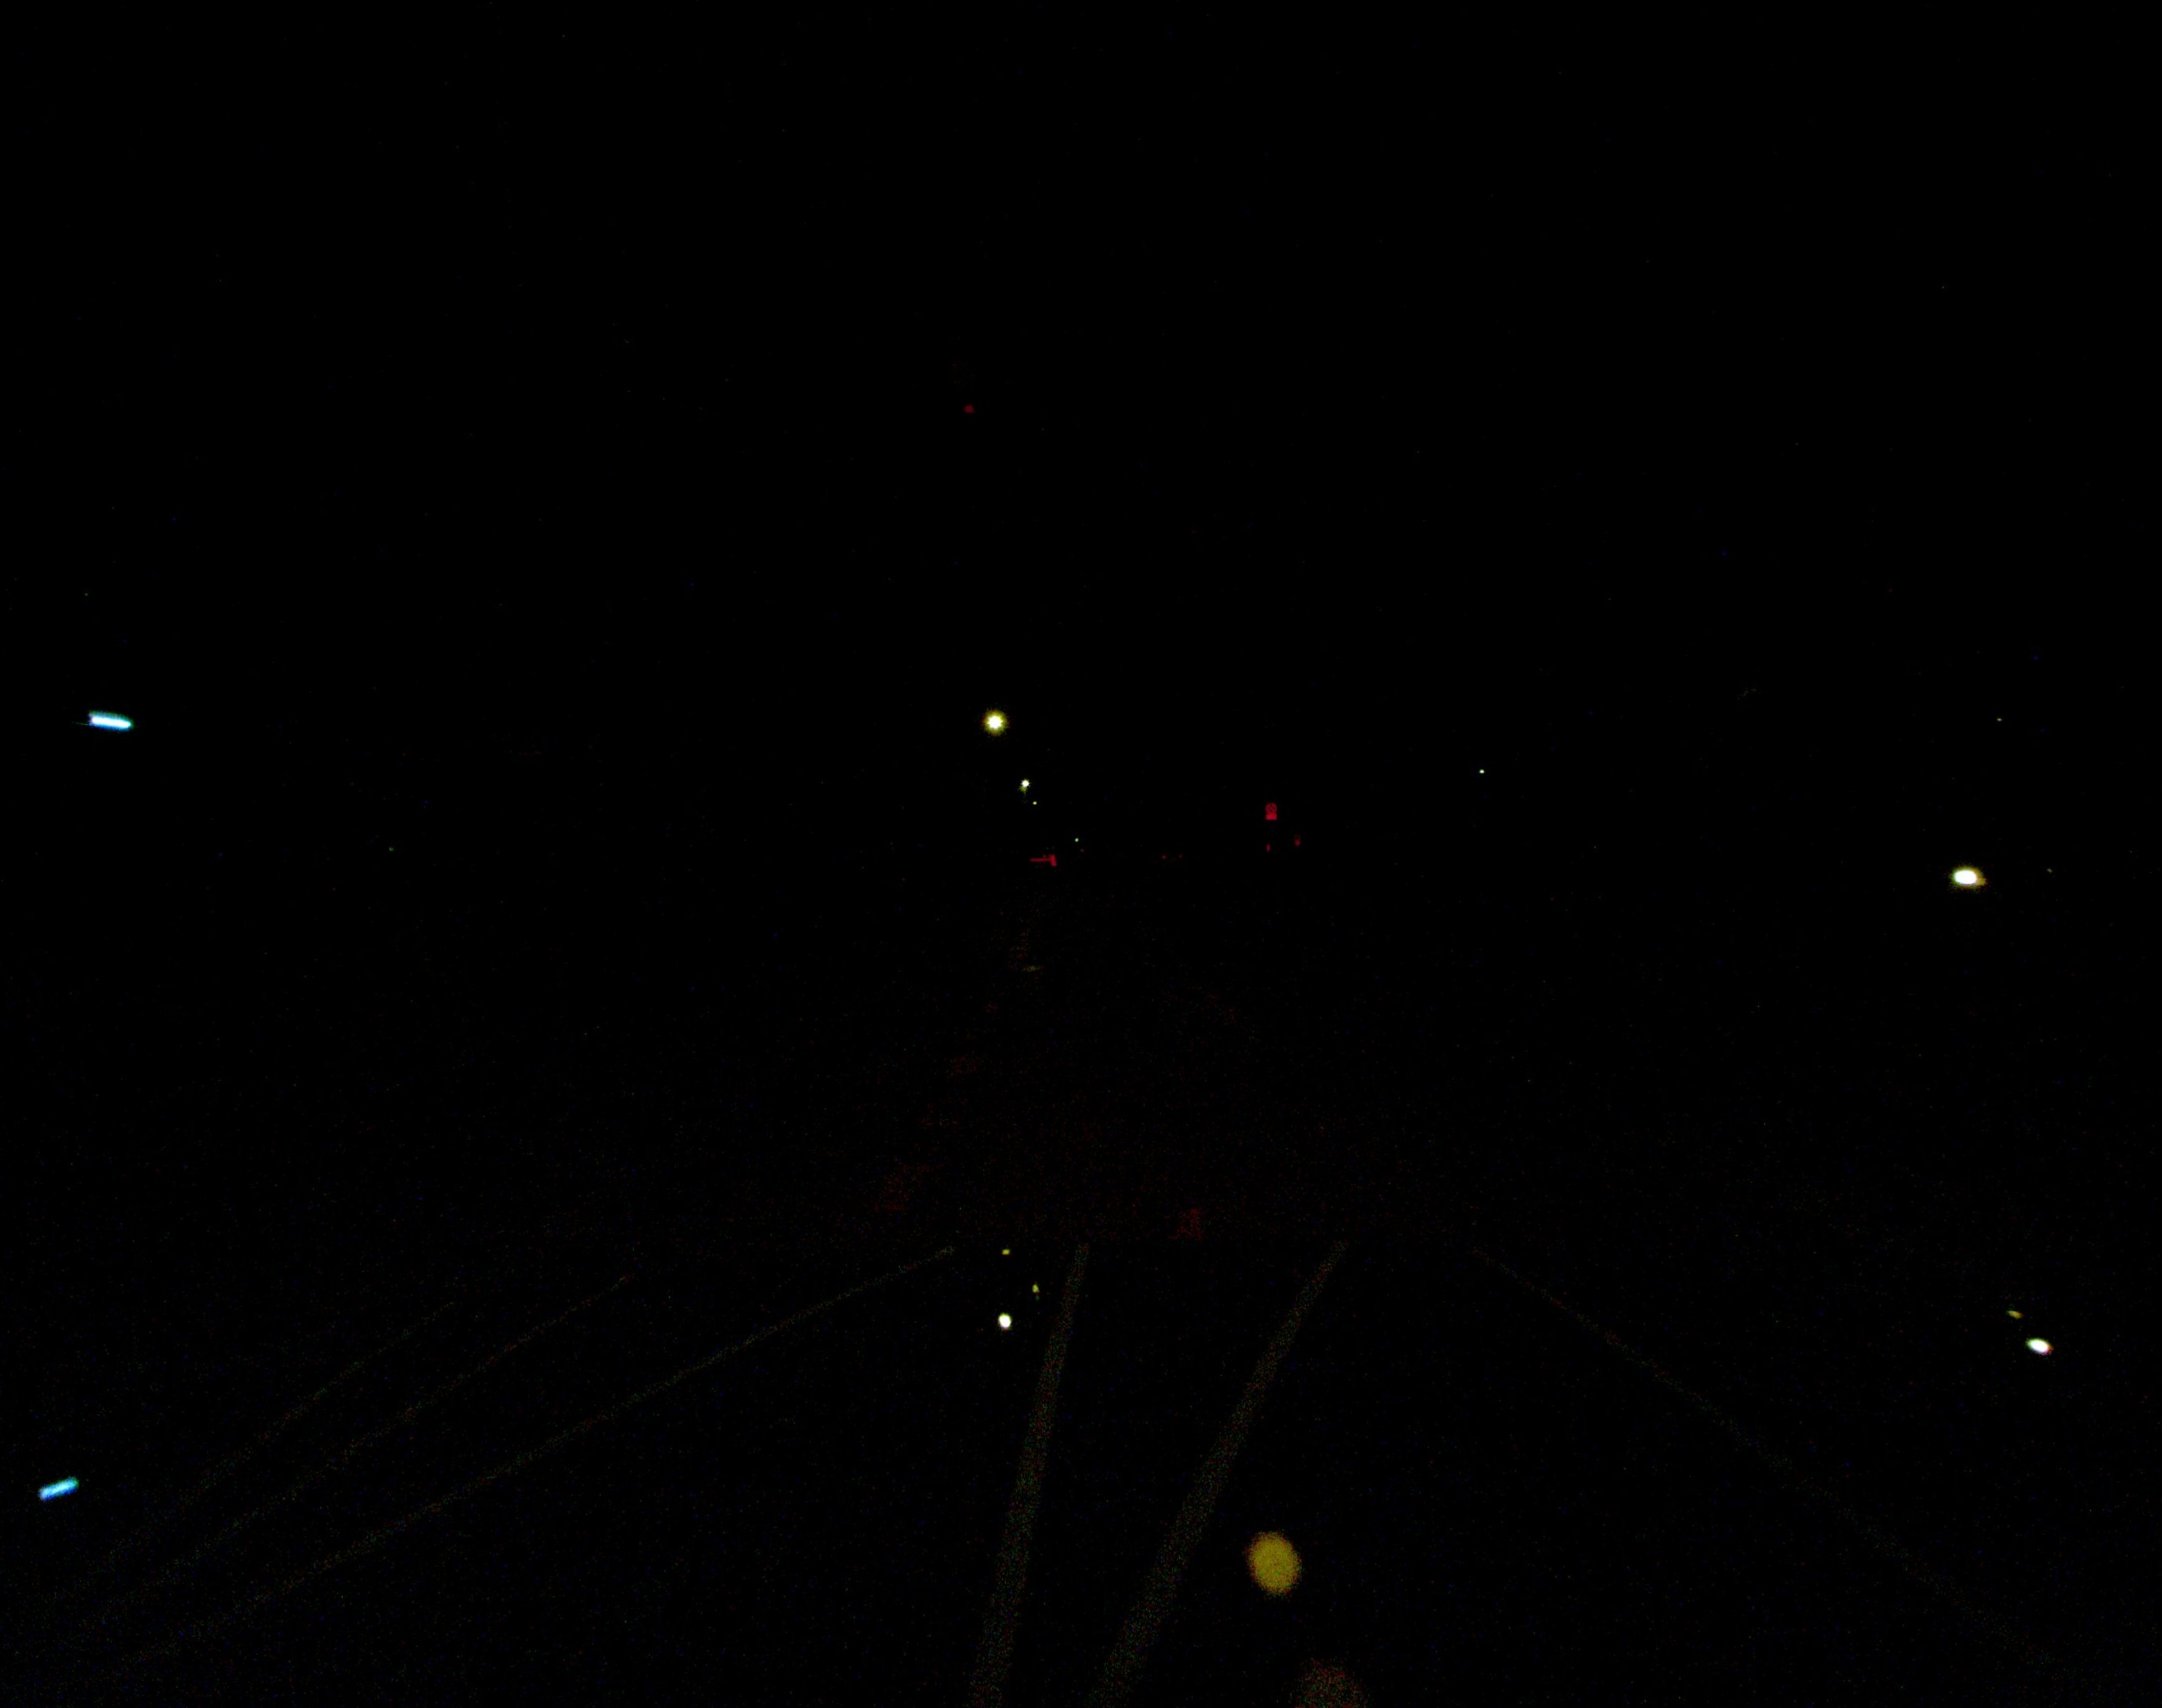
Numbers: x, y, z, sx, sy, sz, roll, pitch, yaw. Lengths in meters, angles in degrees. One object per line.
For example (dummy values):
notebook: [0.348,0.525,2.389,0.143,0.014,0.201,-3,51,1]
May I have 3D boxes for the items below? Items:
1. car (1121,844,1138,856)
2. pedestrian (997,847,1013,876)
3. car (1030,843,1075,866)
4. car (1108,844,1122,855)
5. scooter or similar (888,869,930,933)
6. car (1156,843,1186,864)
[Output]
car: [6.389,-0.558,100.423,1.911,1.445,3.999,-3,2,1]
pedestrian: [-4.807,0.458,48.126,0.824,1.809,0.608,-3,2,1]
car: [-2.601,0.021,70.740,3.997,1.821,1.912,-3,2,0]
car: [5.261,-0.755,118.449,1.911,1.445,3.999,-3,2,1]
scooter or similar: [-3.655,0.971,16.243,0.570,1.271,1.391,0,0,0]
car: [7.203,-0.071,60.921,1.911,1.445,3.999,-3,2,1]
